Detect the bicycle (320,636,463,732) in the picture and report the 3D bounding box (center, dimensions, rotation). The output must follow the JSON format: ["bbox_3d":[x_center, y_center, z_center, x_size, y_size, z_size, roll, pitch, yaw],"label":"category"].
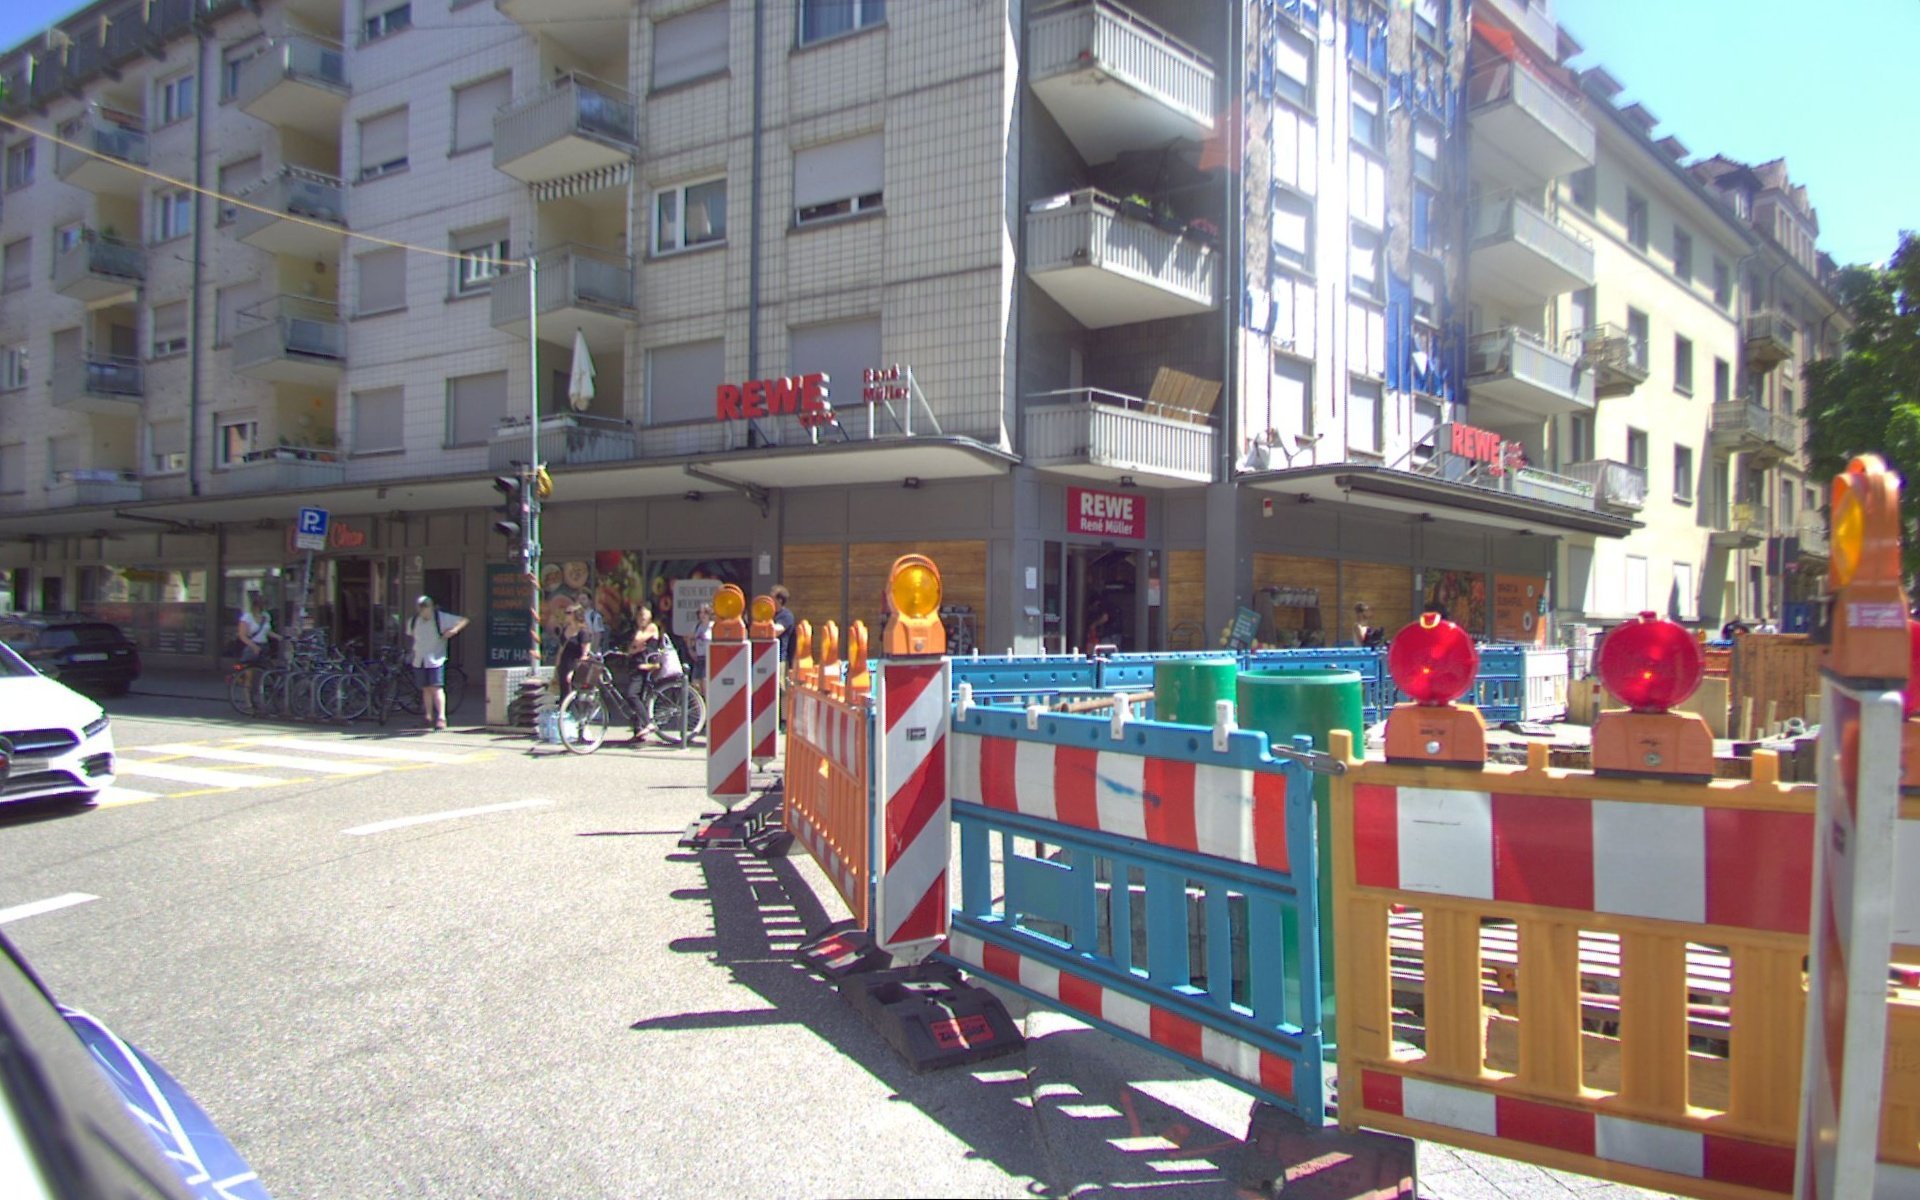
[{"bbox_3d":[-7.735,1.106,13.869,0.573,1.131,1.792,0,1,19],"label":"bicycle"}]

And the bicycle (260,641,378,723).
[{"bbox_3d":[-9.215,1.155,14.608,0.395,1.038,1.488,0,1,21],"label":"bicycle"}]

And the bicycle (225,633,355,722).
[{"bbox_3d":[-9.836,1.106,14.918,0.523,1.148,1.578,0,1,21],"label":"bicycle"}]

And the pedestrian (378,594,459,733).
[{"bbox_3d":[-7.053,0.806,13.187,0.628,1.740,0.653,0,-1,23],"label":"pedestrian"}]

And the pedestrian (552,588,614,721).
[{"bbox_3d":[-5.182,0.732,13.912,0.596,1.784,0.506,0,-1,23],"label":"pedestrian"}]

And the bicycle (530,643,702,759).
[{"bbox_3d":[-3.800,1.083,11.293,1.783,1.127,0.468,0,0,-44],"label":"bicycle"}]

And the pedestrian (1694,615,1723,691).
[{"bbox_3d":[20.189,1.412,27.298,0.406,2.029,0.546,2,-2,-40],"label":"pedestrian"}]

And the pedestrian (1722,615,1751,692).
[{"bbox_3d":[20.651,1.415,26.908,0.439,2.029,0.506,2,-2,-40],"label":"pedestrian"}]

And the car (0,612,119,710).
[{"bbox_3d":[-16.977,0.991,17.838,4.439,1.536,1.661,0,0,26],"label":"car"}]

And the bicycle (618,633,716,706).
[{"bbox_3d":[-4.445,1.050,15.378,1.415,1.094,0.321,-1,-1,7],"label":"bicycle"}]

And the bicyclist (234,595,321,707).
[{"bbox_3d":[-10.830,0.799,16.068,0.970,1.719,0.622,-2,1,17],"label":"bicyclist"}]

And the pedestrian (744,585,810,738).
[{"bbox_3d":[-2.265,0.745,12.548,0.596,1.834,0.506,0,-1,23],"label":"pedestrian"}]

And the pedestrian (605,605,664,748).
[{"bbox_3d":[-3.729,0.854,11.600,0.489,1.577,0.460,-1,0,-39],"label":"pedestrian"}]

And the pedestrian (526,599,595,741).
[{"bbox_3d":[-4.747,0.813,12.029,0.508,1.645,0.538,0,-1,23],"label":"pedestrian"}]

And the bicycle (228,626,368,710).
[{"bbox_3d":[-10.409,1.035,16.004,0.598,1.099,1.932,-2,2,13],"label":"bicycle"}]

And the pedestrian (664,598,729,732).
[{"bbox_3d":[-3.322,0.804,12.777,0.596,1.645,0.506,0,-1,23],"label":"pedestrian"}]

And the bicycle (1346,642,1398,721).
[{"bbox_3d":[6.114,1.181,15.067,0.338,1.080,1.571,1,-1,8],"label":"bicycle"}]

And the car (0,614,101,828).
[{"bbox_3d":[-8.476,0.828,7.396,4.218,1.436,1.799,-1,-2,26],"label":"car"}]

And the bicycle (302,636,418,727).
[{"bbox_3d":[-8.376,1.114,14.196,0.333,1.125,1.514,0,1,21],"label":"bicycle"}]

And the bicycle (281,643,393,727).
[{"bbox_3d":[-8.815,1.170,14.371,0.333,1.043,1.442,0,1,21],"label":"bicycle"}]

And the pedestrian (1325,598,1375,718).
[{"bbox_3d":[5.756,0.840,14.956,0.383,1.728,0.592,1,-2,-26],"label":"pedestrian"}]

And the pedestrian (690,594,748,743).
[{"bbox_3d":[-2.703,0.750,11.348,0.472,1.630,0.388,0,-1,23],"label":"pedestrian"}]
